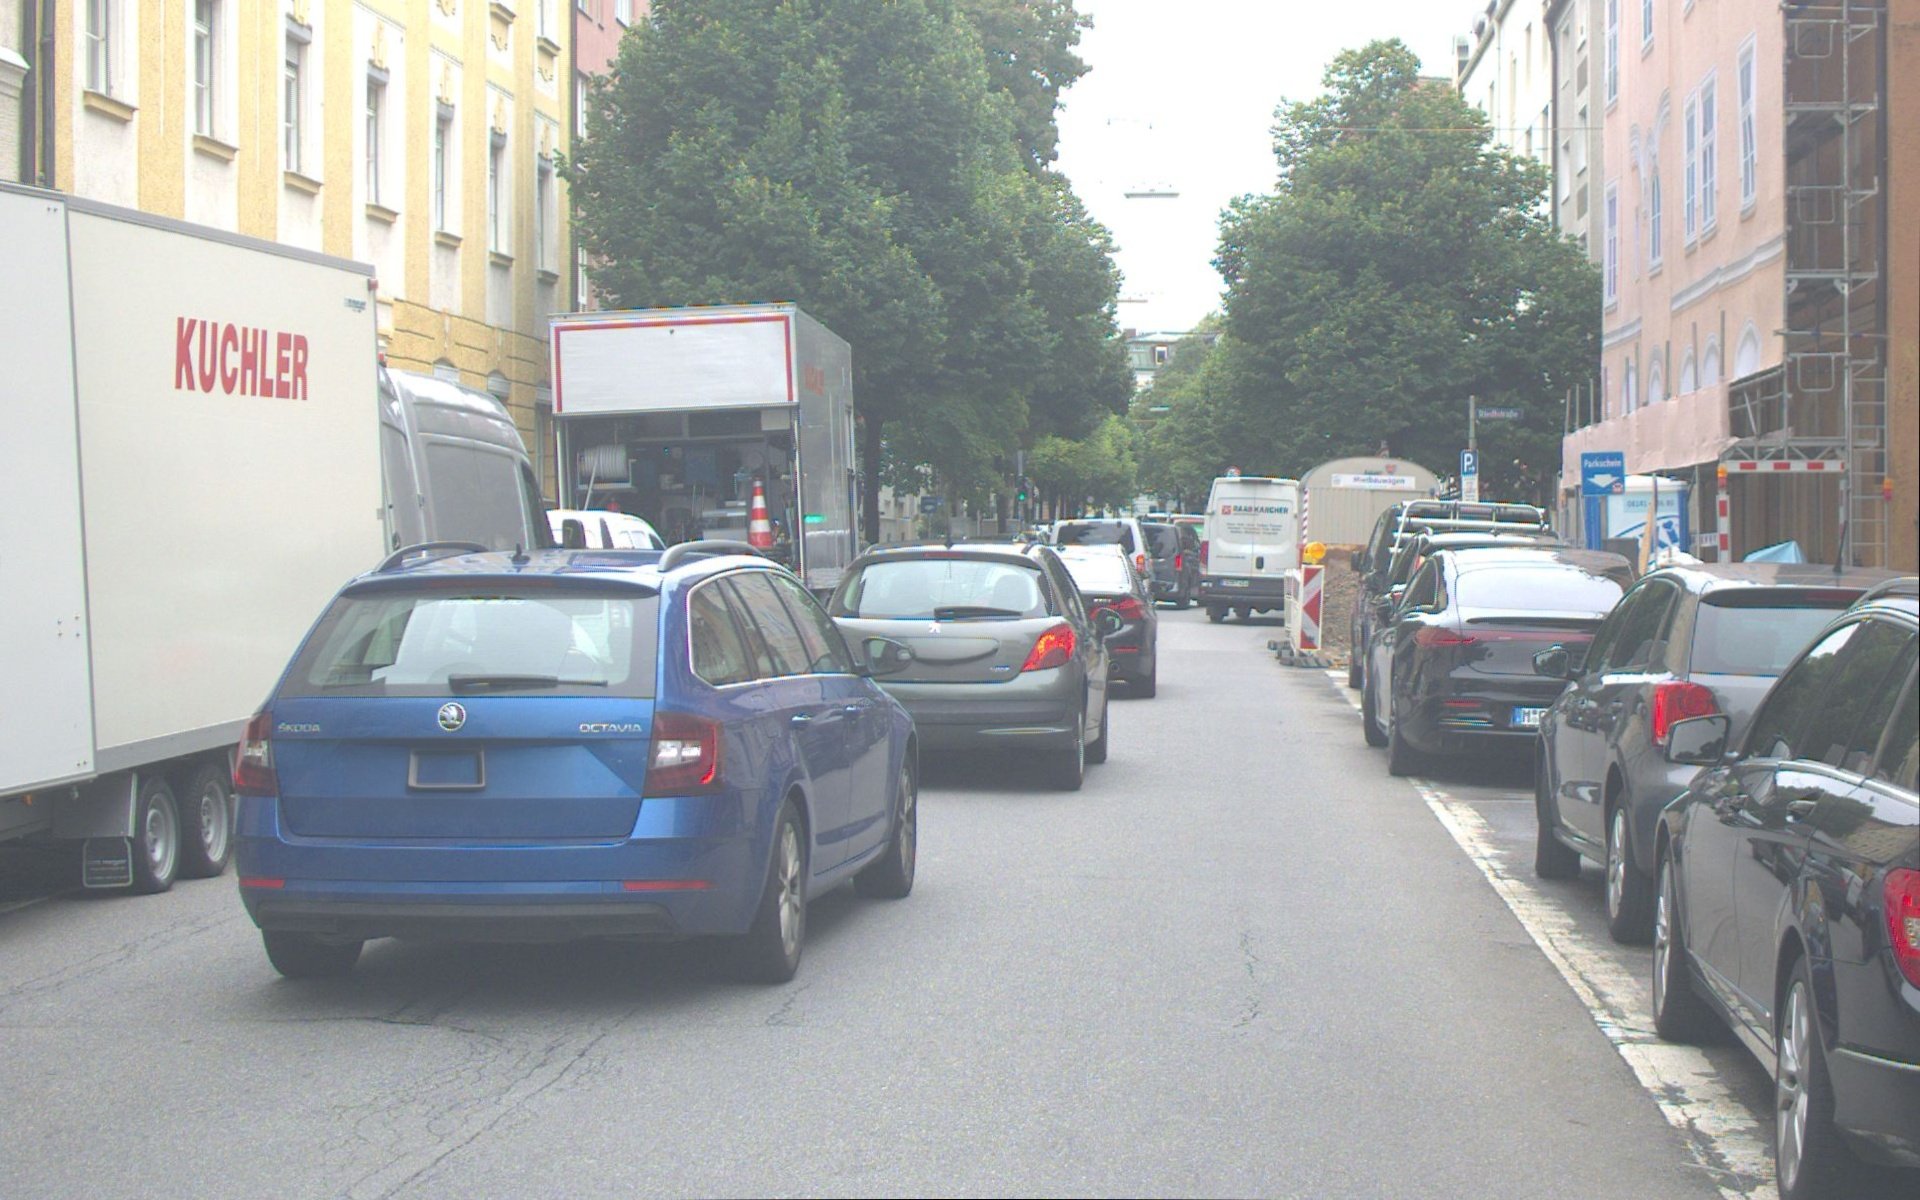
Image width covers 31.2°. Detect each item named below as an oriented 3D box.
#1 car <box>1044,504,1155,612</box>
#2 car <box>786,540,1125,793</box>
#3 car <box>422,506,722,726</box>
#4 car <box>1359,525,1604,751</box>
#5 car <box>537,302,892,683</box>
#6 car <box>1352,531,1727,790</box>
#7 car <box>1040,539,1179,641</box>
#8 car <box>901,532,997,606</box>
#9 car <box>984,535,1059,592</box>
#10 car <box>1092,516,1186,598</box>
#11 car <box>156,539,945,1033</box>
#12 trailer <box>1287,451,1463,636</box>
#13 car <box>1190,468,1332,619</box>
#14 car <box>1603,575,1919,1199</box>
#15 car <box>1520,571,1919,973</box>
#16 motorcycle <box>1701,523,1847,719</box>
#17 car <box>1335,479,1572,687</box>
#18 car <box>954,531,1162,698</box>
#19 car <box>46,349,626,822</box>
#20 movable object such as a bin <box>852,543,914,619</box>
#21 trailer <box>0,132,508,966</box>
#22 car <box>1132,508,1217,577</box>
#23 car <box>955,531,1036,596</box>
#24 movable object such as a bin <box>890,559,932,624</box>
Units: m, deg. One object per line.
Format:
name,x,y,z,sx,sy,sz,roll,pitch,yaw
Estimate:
car,2.611,-0.805,63.474,1.868,1.863,4.347,2,2,4
car,0.058,0.354,21.421,1.741,1.417,3.663,1,1,6
car,-3.351,0.099,30.533,1.763,1.773,4.326,-2,1,5
car,4.339,0.276,29.139,1.694,1.671,4.407,3,1,5
car,-2.549,-1.133,38.824,2.813,3.804,8.722,0,1,4
car,3.857,0.312,23.824,1.931,1.547,5.636,1,1,3
car,2.232,-0.180,50.337,1.868,1.343,4.347,2,2,4
car,-0.201,-0.667,71.548,1.812,1.473,4.000,1,1,2
car,1.701,-1.015,94.238,1.812,1.473,4.000,1,1,4
car,3.863,-0.954,73.539,1.868,1.647,4.347,2,2,4
car,-1.242,0.514,12.367,1.789,1.455,4.313,0,1,8
trailer,6.821,-0.925,57.249,2.502,2.830,6.900,2,1,4
car,5.692,-1.036,64.450,2.113,2.654,5.498,2,1,10
car,2.862,0.667,8.862,1.847,1.400,4.787,1,1,4
car,3.302,0.583,14.059,1.572,1.389,4.182,0,1,3
motorcycle,6.470,0.144,27.423,0.872,1.499,1.997,1,1,6
car,4.957,-0.101,35.171,2.083,1.914,5.139,2,-1,5
car,1.016,0.087,33.580,1.867,1.449,4.347,2,2,3
car,-3.911,-0.142,23.128,2.056,2.578,6.876,-4,1,4
movable object such as a bin,-1.420,-0.359,63.719,1.081,1.372,1.084,-2,1,0
trailer,-4.431,-0.236,15.644,2.804,2.959,7.598,-3,1,7
car,5.434,-1.468,86.830,2.008,1.647,4.347,2,2,5
car,0.878,-0.891,82.226,1.812,1.473,4.000,1,1,2
movable object such as a bin,-0.896,-0.159,62.848,0.711,1.144,0.636,-2,1,1
